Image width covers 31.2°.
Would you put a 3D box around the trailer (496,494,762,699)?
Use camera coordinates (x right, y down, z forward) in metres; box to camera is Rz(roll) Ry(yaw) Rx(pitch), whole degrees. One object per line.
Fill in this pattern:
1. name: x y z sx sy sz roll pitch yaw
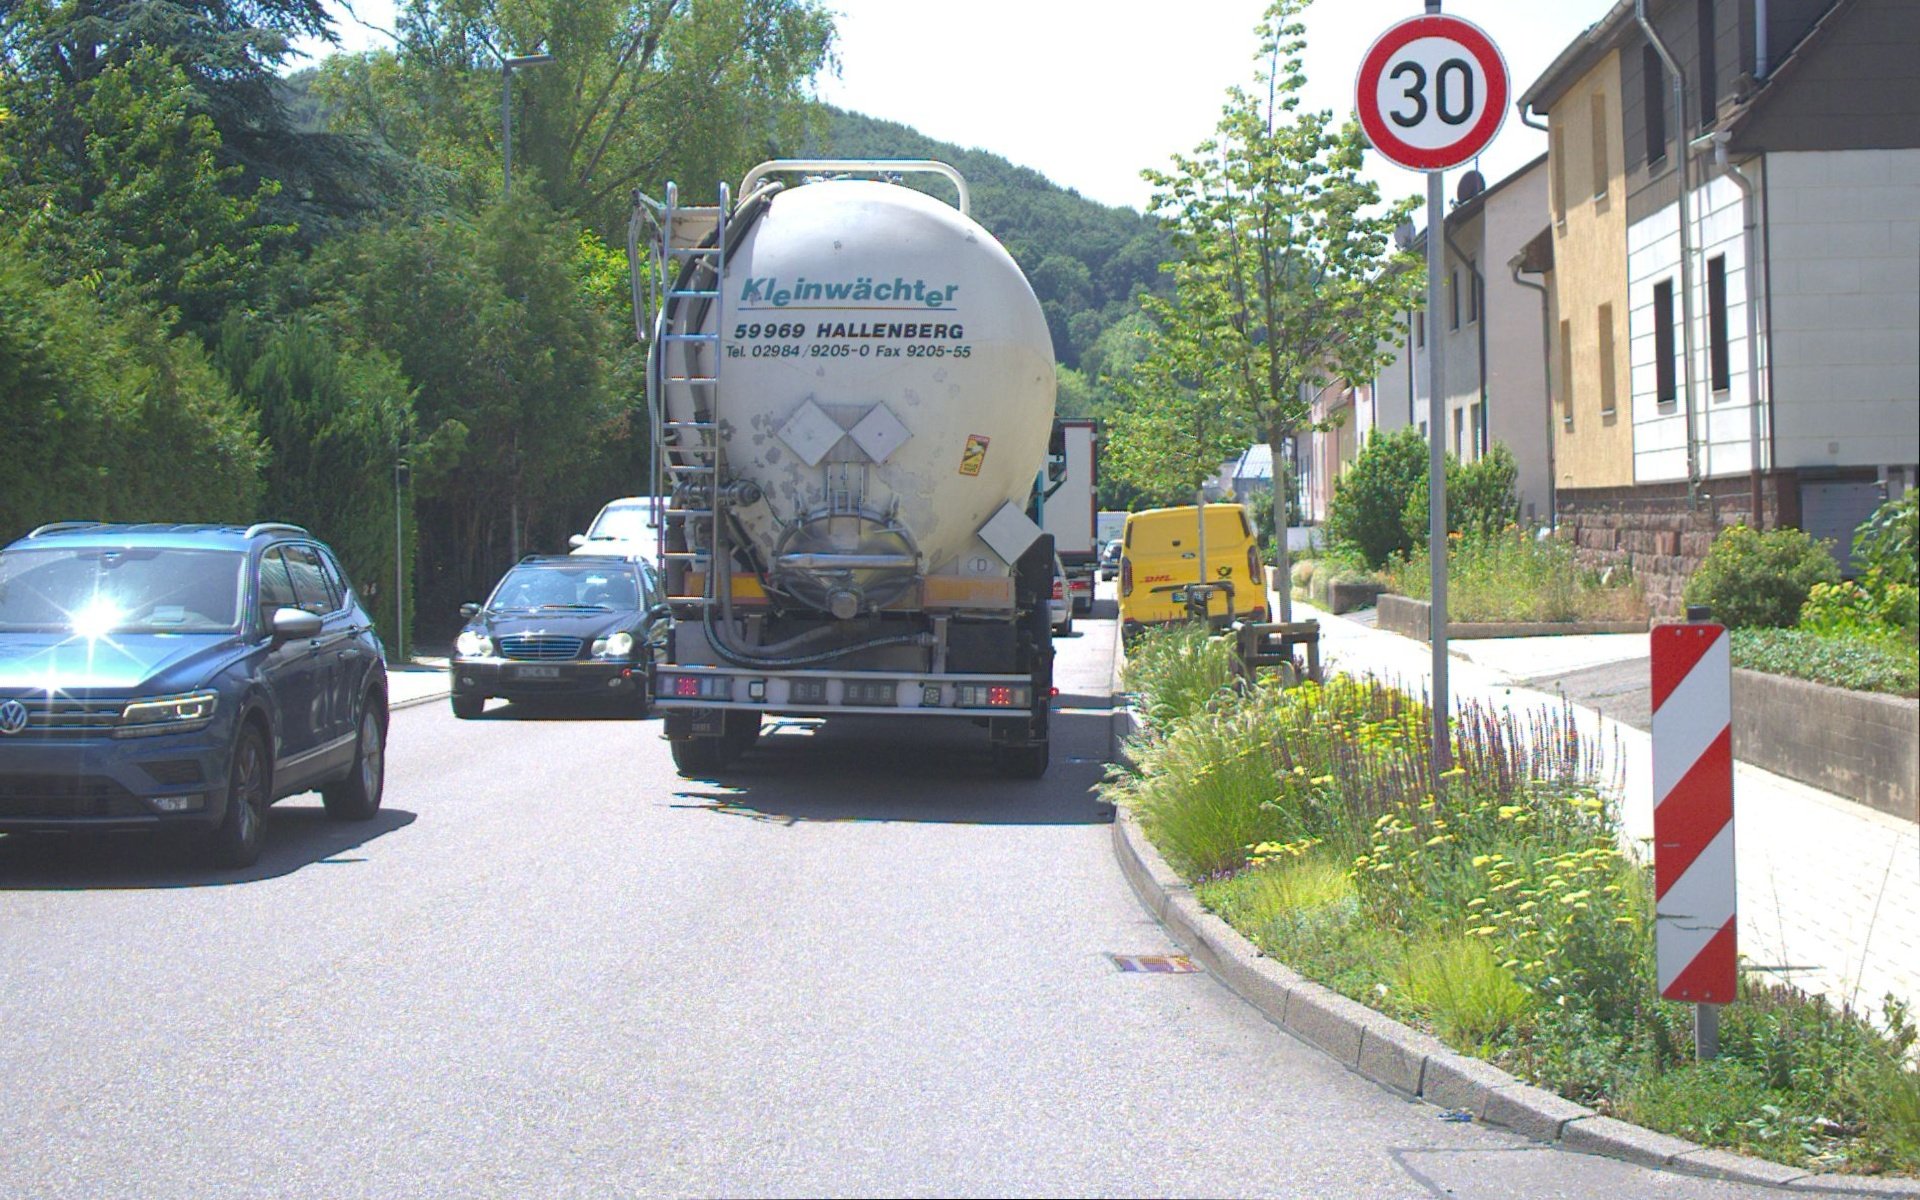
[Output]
1. trailer: -3.432 -0.048 36.875 2.155 1.980 6.201 1 0 1

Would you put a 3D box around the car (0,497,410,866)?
1. car: -4.219 0.345 17.733 1.888 1.639 4.613 1 0 2

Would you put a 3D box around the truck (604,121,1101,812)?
1. truck: -0.417 -0.901 25.659 2.750 4.043 10.888 0 1 3

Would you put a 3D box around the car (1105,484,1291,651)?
1. car: 3.224 -0.433 47.723 2.189 2.007 5.622 -5 0 2

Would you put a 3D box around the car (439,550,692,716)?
1. car: -3.548 0.271 31.614 1.766 1.397 4.247 1 0 1
